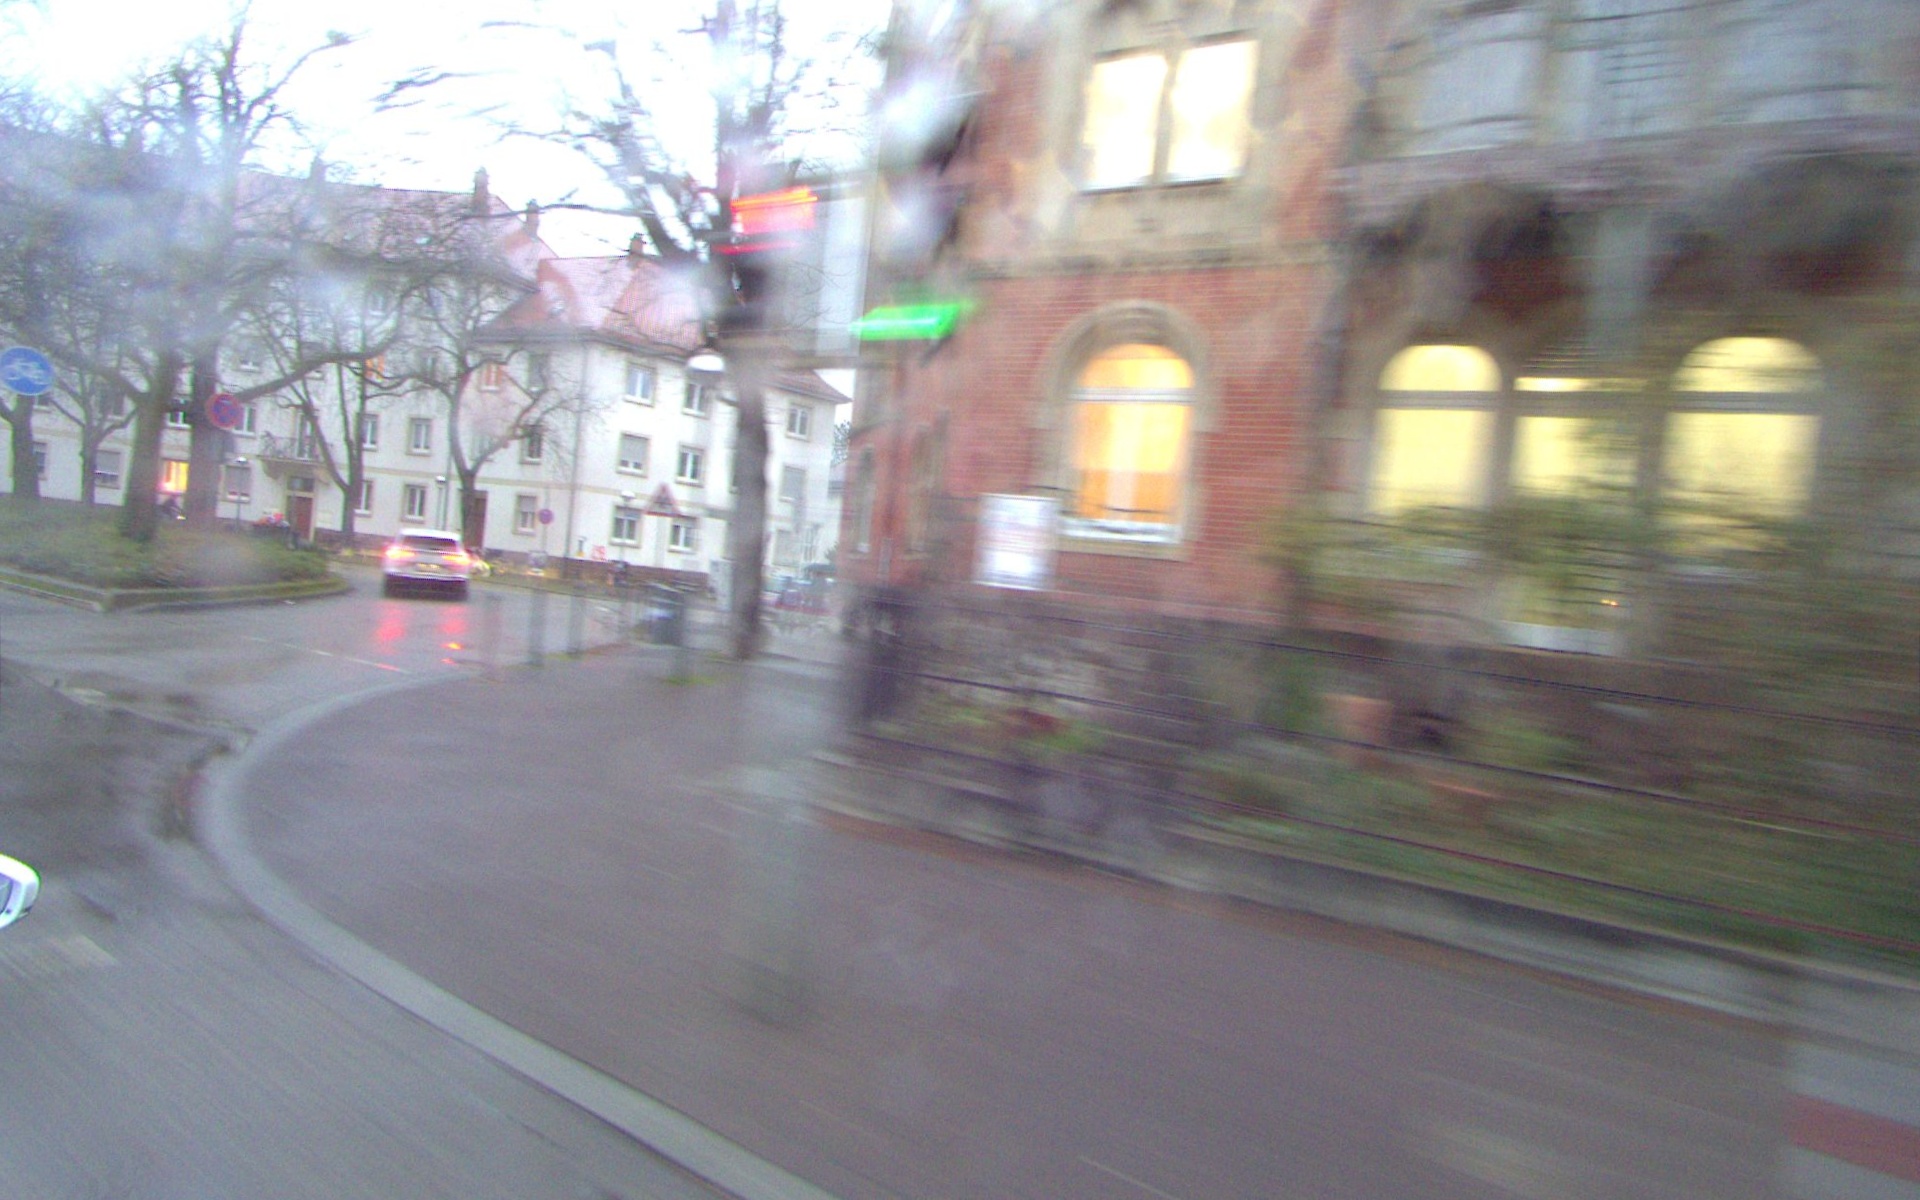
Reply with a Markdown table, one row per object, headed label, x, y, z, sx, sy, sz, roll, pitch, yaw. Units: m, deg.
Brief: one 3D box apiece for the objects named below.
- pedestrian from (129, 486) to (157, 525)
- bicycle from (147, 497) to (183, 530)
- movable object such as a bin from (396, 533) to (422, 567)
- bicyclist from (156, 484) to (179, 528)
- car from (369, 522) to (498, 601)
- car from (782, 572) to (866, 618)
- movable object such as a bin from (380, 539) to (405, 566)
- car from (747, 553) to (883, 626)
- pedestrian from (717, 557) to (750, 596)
| label | x | y | z | sx | sy | sz | roll | pitch | yaw |
| --- | --- | --- | --- | --- | --- | --- | --- | --- | --- |
| pedestrian | -37.364 | -4.302 | 46.033 | 0.704 | 1.682 | 0.684 | 5 | 2 | -20 |
| bicycle | -35.817 | -3.885 | 45.300 | 1.881 | 1.308 | 0.467 | 6 | 2 | 27 |
| movable object such as a bin | -21.974 | -1.994 | 40.120 | 0.638 | 1.244 | 0.528 | 6 | 2 | 15 |
| bicyclist | -35.574 | -4.223 | 45.175 | 0.667 | 1.911 | 0.467 | 7 | 2 | 27 |
| car | -12.980 | -0.866 | 25.115 | 1.872 | 1.527 | 4.738 | 8 | -2 | -17 |
| car | -5.765 | -0.235 | 42.355 | 1.833 | 1.505 | 3.962 | 6 | 1 | -34 |
| movable object such as a bin | -22.690 | -1.908 | 40.215 | 0.638 | 0.993 | 0.528 | 6 | 1 | 15 |
| car | -4.679 | -0.305 | 33.005 | 1.780 | 1.748 | 4.330 | 6 | -3 | 36 |
| pedestrian | -10.409 | -1.090 | 46.156 | 0.750 | 1.664 | 1.116 | 7 | 2 | 43 |
